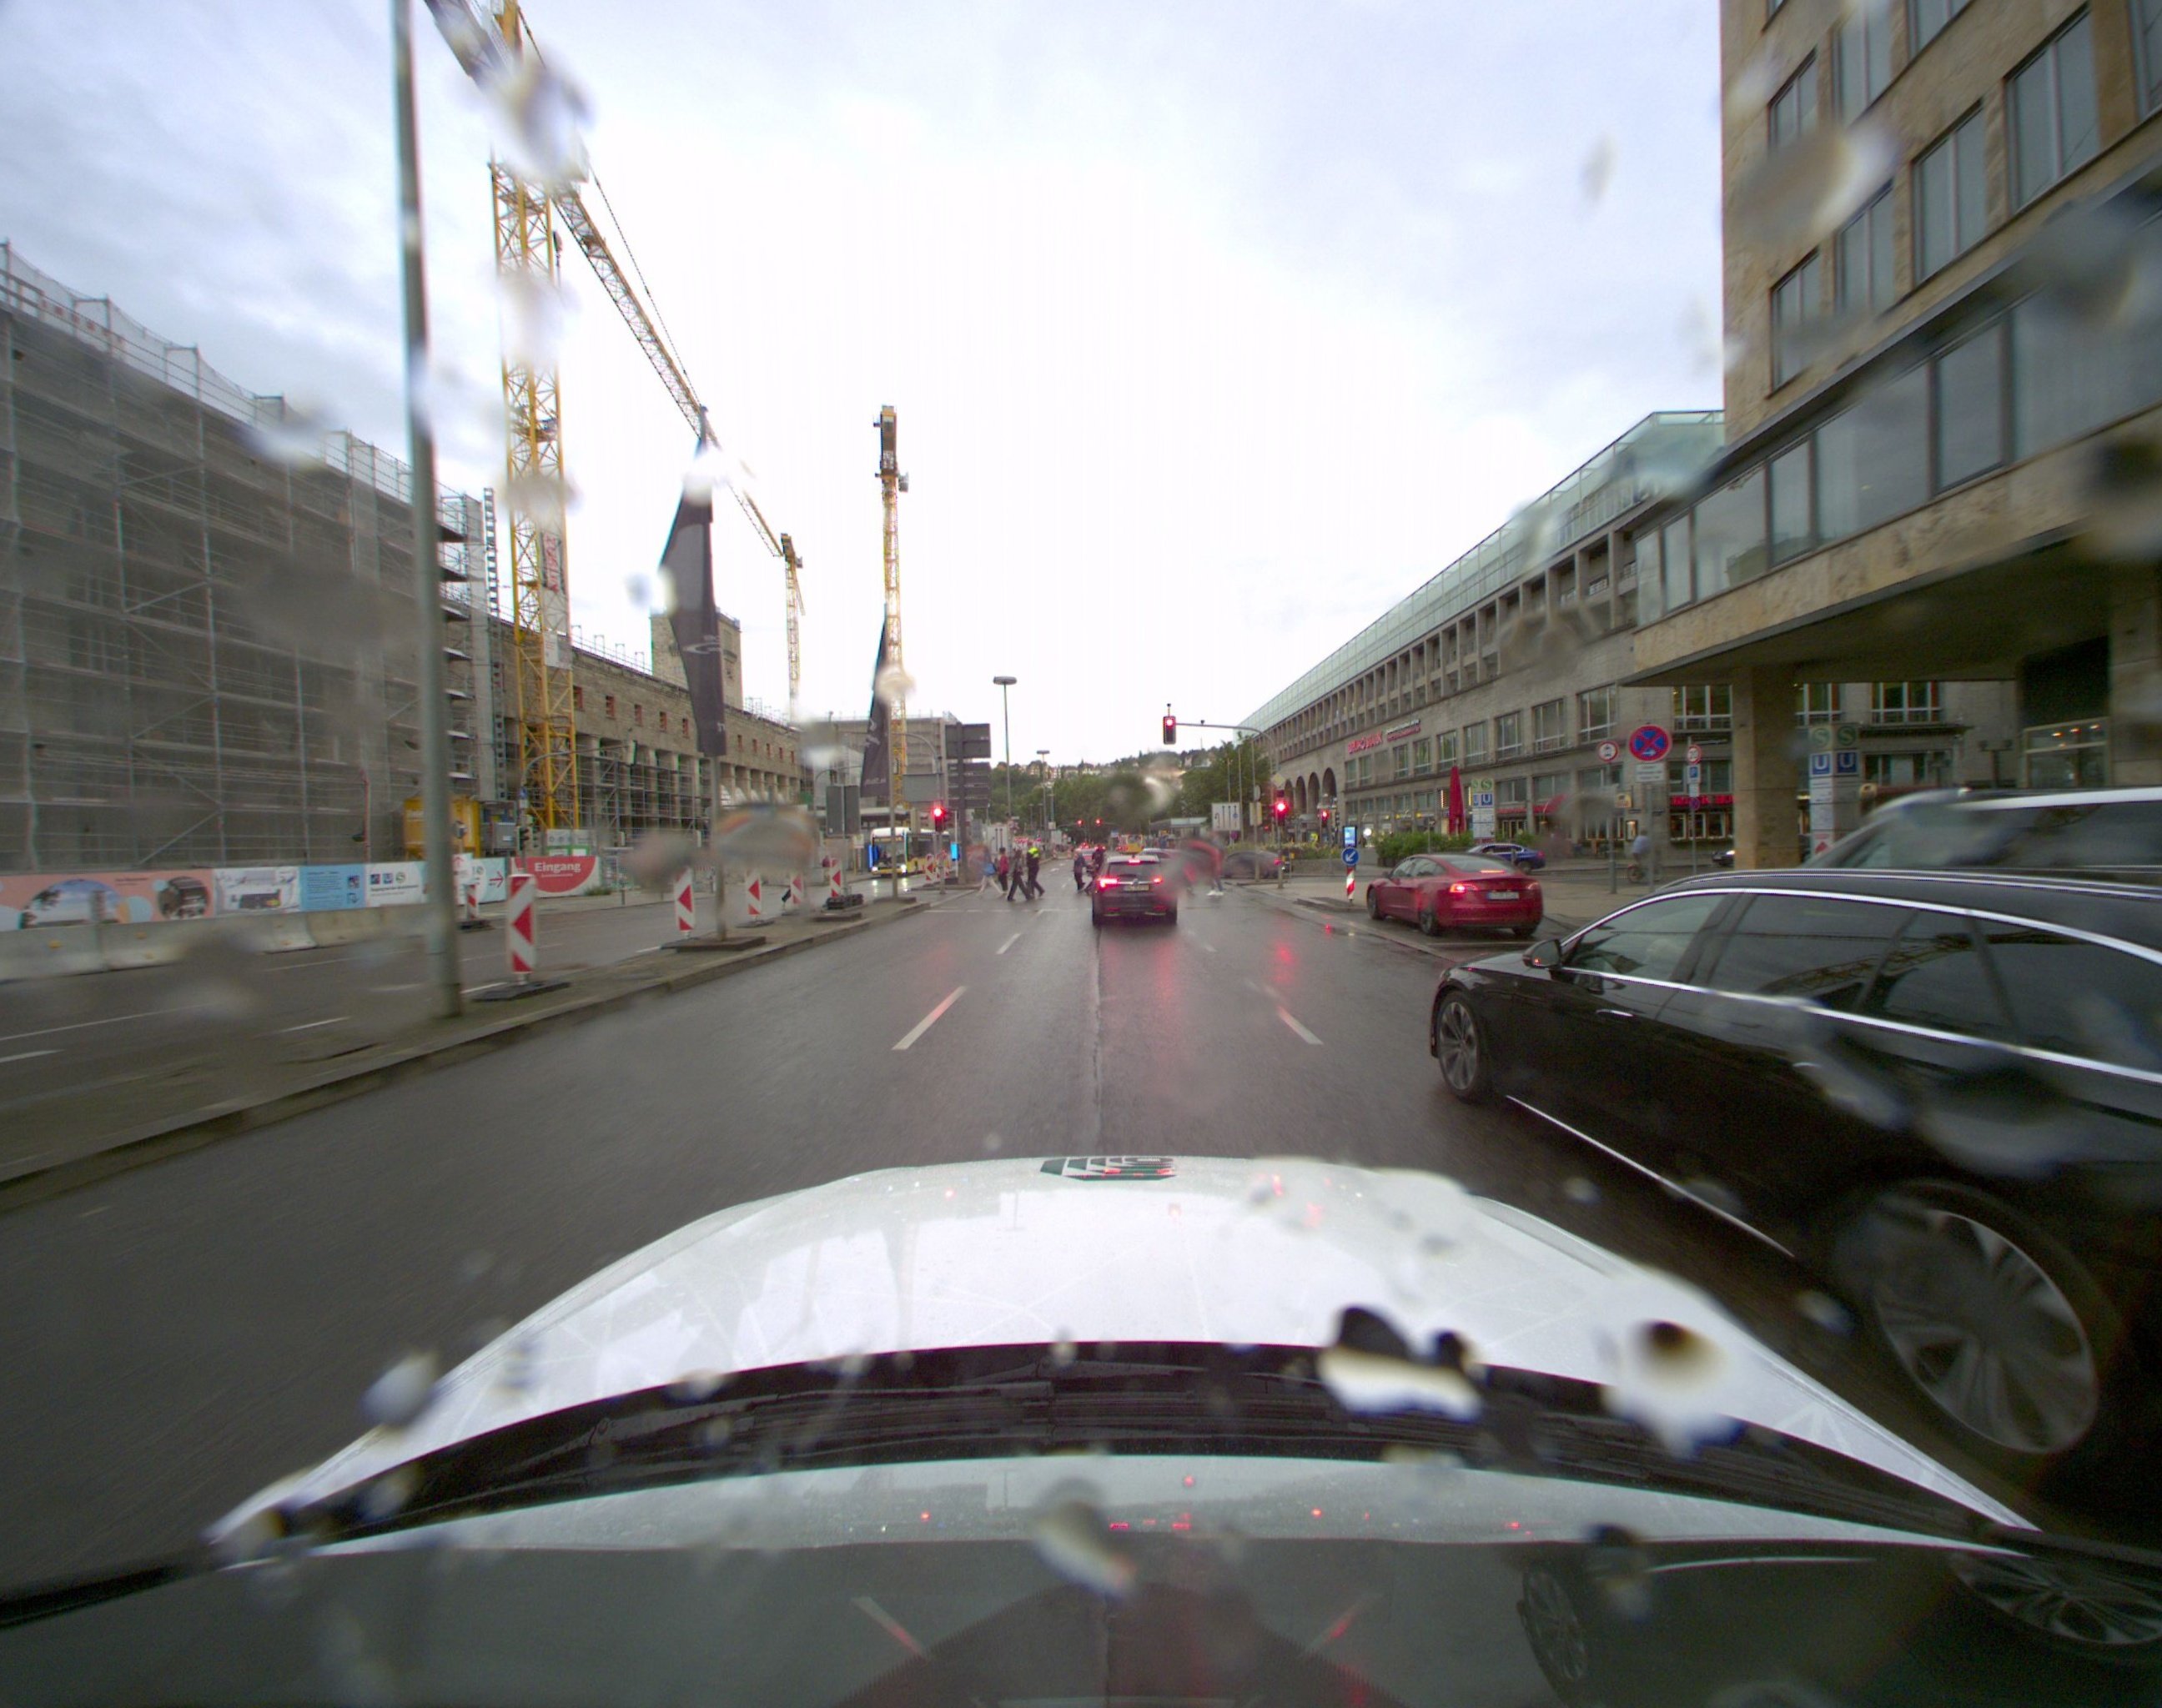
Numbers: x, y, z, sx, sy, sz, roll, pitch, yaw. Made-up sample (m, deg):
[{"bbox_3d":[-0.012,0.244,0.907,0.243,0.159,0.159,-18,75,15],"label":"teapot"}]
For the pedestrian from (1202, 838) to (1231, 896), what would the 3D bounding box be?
[{"bbox_3d":[4.461,0.427,26.767,0.798,1.890,0.618,0,-1,-7],"label":"pedestrian"}]

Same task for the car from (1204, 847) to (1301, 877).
[{"bbox_3d":[8.398,0.392,40.092,4.345,1.398,1.770,-1,0,36],"label":"car"}]

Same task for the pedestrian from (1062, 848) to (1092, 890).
[{"bbox_3d":[-0.147,0.553,30.343,0.777,1.561,0.881,-1,-1,34],"label":"pedestrian"}]

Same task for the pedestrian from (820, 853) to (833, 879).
[{"bbox_3d":[-18.541,0.845,59.300,0.659,1.855,0.799,-2,0,2],"label":"pedestrian"}]

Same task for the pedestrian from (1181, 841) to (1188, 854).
[{"bbox_3d":[13.262,-0.801,104.804,0.761,1.690,0.824,0,-1,-2],"label":"pedestrian"}]

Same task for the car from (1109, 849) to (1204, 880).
[{"bbox_3d":[3.632,0.493,39.753,4.481,1.398,1.769,-1,0,44],"label":"car"}]

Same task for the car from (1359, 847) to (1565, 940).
[{"bbox_3d":[6.891,0.644,15.339,1.868,1.486,4.528,0,0,2],"label":"car"}]

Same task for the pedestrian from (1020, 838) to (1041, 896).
[{"bbox_3d":[-1.647,0.417,26.570,0.576,1.836,0.820,0,-1,2],"label":"pedestrian"}]

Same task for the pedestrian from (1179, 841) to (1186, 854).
[{"bbox_3d":[13.173,-0.817,105.705,0.761,1.690,0.824,0,-1,-2],"label":"pedestrian"}]

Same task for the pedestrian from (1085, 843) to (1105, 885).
[{"bbox_3d":[0.493,0.353,28.444,0.677,1.474,0.366,0,-1,-3],"label":"pedestrian"}]

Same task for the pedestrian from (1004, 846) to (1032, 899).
[{"bbox_3d":[-1.964,0.581,25.521,0.791,1.626,0.899,0,0,-2],"label":"pedestrian"}]

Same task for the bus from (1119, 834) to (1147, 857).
[{"bbox_3d":[8.251,-1.264,131.443,4.157,3.469,14.661,0,0,2],"label":"bus"}]

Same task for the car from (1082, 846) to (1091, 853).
[{"bbox_3d":[1.102,-0.911,158.769,1.752,1.398,3.566,0,0,2],"label":"car"}]

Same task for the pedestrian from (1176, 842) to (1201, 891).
[{"bbox_3d":[3.896,0.439,29.498,0.563,1.752,0.684,-1,-1,45],"label":"pedestrian"}]

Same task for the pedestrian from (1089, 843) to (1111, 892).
[{"bbox_3d":[0.665,0.489,28.877,0.753,1.717,0.466,0,-1,-2],"label":"pedestrian"}]

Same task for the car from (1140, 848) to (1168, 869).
[{"bbox_3d":[5.164,0.324,58.043,1.838,1.398,3.566,0,0,2],"label":"car"}]

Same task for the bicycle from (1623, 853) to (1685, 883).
[{"bbox_3d":[20.062,0.473,28.507,2.213,1.009,0.589,0,0,-18],"label":"bicycle"}]

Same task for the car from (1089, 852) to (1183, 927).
[{"bbox_3d":[1.167,0.720,18.271,1.868,1.486,4.001,0,0,2],"label":"car"}]

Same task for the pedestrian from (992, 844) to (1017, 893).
[{"bbox_3d":[-2.778,0.512,29.655,0.797,1.717,0.619,-3,0,-2],"label":"pedestrian"}]

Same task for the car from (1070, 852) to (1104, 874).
[{"bbox_3d":[0.364,0.562,52.413,1.750,1.398,4.529,0,0,-5],"label":"car"}]

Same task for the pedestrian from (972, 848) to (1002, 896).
[{"bbox_3d":[-3.136,0.595,27.213,0.912,1.563,0.899,0,0,-2],"label":"pedestrian"}]

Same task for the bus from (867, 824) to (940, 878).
[{"bbox_3d":[-12.747,-0.158,59.450,2.658,3.602,10.244,0,0,2],"label":"bus"}]

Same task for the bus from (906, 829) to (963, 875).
[{"bbox_3d":[-12.370,-0.120,69.634,2.658,3.602,10.216,0,0,2],"label":"bus"}]

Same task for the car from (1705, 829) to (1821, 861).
[{"bbox_3d":[30.672,-0.390,36.701,3.639,1.398,1.853,0,0,3],"label":"car"}]

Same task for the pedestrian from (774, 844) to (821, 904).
[{"bbox_3d":[-8.617,0.605,24.799,1.093,1.751,0.653,-3,0,-1],"label":"pedestrian"}]

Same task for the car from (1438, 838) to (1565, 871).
[{"bbox_3d":[18.256,0.042,35.550,4.605,1.398,1.764,0,0,10],"label":"car"}]

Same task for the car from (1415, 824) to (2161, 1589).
[{"bbox_3d":[3.081,0.692,3.222,1.786,1.501,4.631,0,0,2],"label":"car"}]

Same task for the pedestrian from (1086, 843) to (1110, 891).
[{"bbox_3d":[0.566,0.444,27.933,0.797,1.608,0.619,0,-1,-2],"label":"pedestrian"}]

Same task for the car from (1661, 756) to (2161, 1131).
[{"bbox_3d":[6.491,0.457,5.415,1.867,1.920,4.937,0,0,2],"label":"car"}]

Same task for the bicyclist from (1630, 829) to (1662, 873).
[{"bbox_3d":[19.691,-0.102,28.398,0.717,1.540,0.609,0,-1,-17],"label":"bicyclist"}]
